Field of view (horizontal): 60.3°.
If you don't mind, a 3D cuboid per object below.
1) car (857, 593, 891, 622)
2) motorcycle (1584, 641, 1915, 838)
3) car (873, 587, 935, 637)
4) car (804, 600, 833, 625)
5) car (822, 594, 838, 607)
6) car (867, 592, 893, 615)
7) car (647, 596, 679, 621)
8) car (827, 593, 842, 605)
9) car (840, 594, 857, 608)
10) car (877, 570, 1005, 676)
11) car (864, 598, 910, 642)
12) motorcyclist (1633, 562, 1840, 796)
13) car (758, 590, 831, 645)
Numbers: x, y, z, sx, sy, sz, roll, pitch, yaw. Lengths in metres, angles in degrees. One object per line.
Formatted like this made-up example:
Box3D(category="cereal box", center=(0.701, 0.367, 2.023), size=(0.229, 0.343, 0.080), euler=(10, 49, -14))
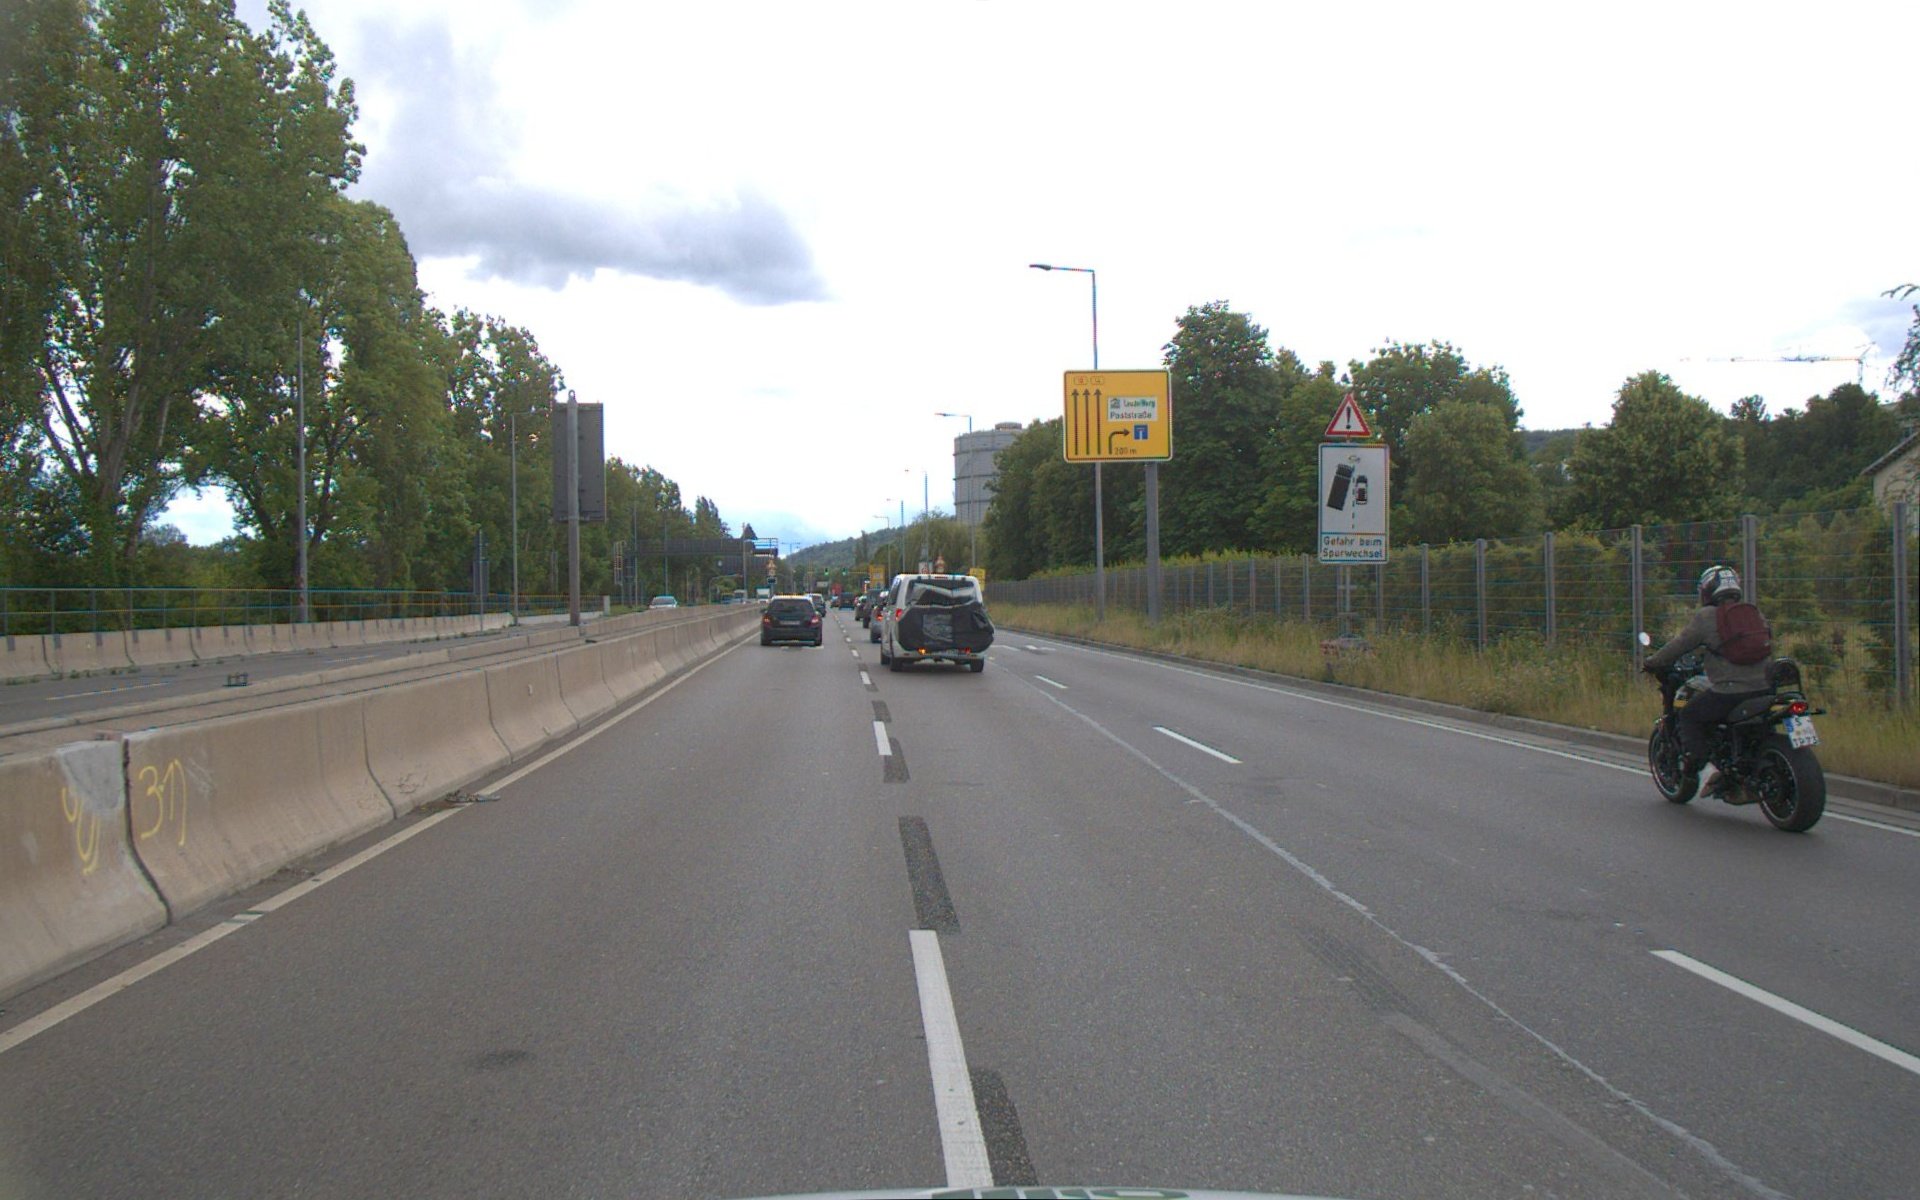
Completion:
Box3D(category="car", center=(-5.122, 0.440, 98.353), size=(1.954, 1.698, 3.998), euler=(0, 0, -3))
Box3D(category="motorcycle", center=(5.241, 0.866, 11.246), size=(0.729, 1.102, 2.661), euler=(-1, 0, -6))
Box3D(category="car", center=(-1.804, 0.365, 52.068), size=(1.882, 1.515, 4.063), euler=(0, 0, -3))
Box3D(category="car", center=(-10.028, 0.872, 117.340), size=(1.954, 1.702, 3.996), euler=(1, -1, -5))
Box3D(category="car", center=(-16.551, 0.045, 210.627), size=(1.955, 1.683, 3.996), euler=(0, 0, -5))
Box3D(category="car", center=(-6.004, 0.277, 124.356), size=(1.954, 1.698, 3.998), euler=(0, 0, -3))
Box3D(category="car", center=(-17.273, 0.466, 96.279), size=(1.700, 1.398, 3.610), euler=(0, 0, -8))
Box3D(category="car", center=(-17.953, -0.207, 236.116), size=(1.955, 1.683, 3.994), euler=(0, 0, -7))
Box3D(category="car", center=(-13.411, 0.129, 198.329), size=(1.955, 1.683, 3.996), euler=(0, 0, -5))
Box3D(category="car", center=(-0.485, 0.408, 33.206), size=(1.955, 1.891, 5.633), euler=(2, 0, -7))
Box3D(category="car", center=(-3.323, 0.858, 74.469), size=(1.954, 1.892, 3.997), euler=(0, 0, -4))
Box3D(category="motorcyclist", center=(5.226, 0.504, 11.186), size=(0.895, 1.502, 0.965), euler=(0, 0, -7))
Box3D(category="car", center=(-4.738, 0.479, 47.784), size=(1.778, 1.459, 4.064), euler=(-2, 1, -2))
